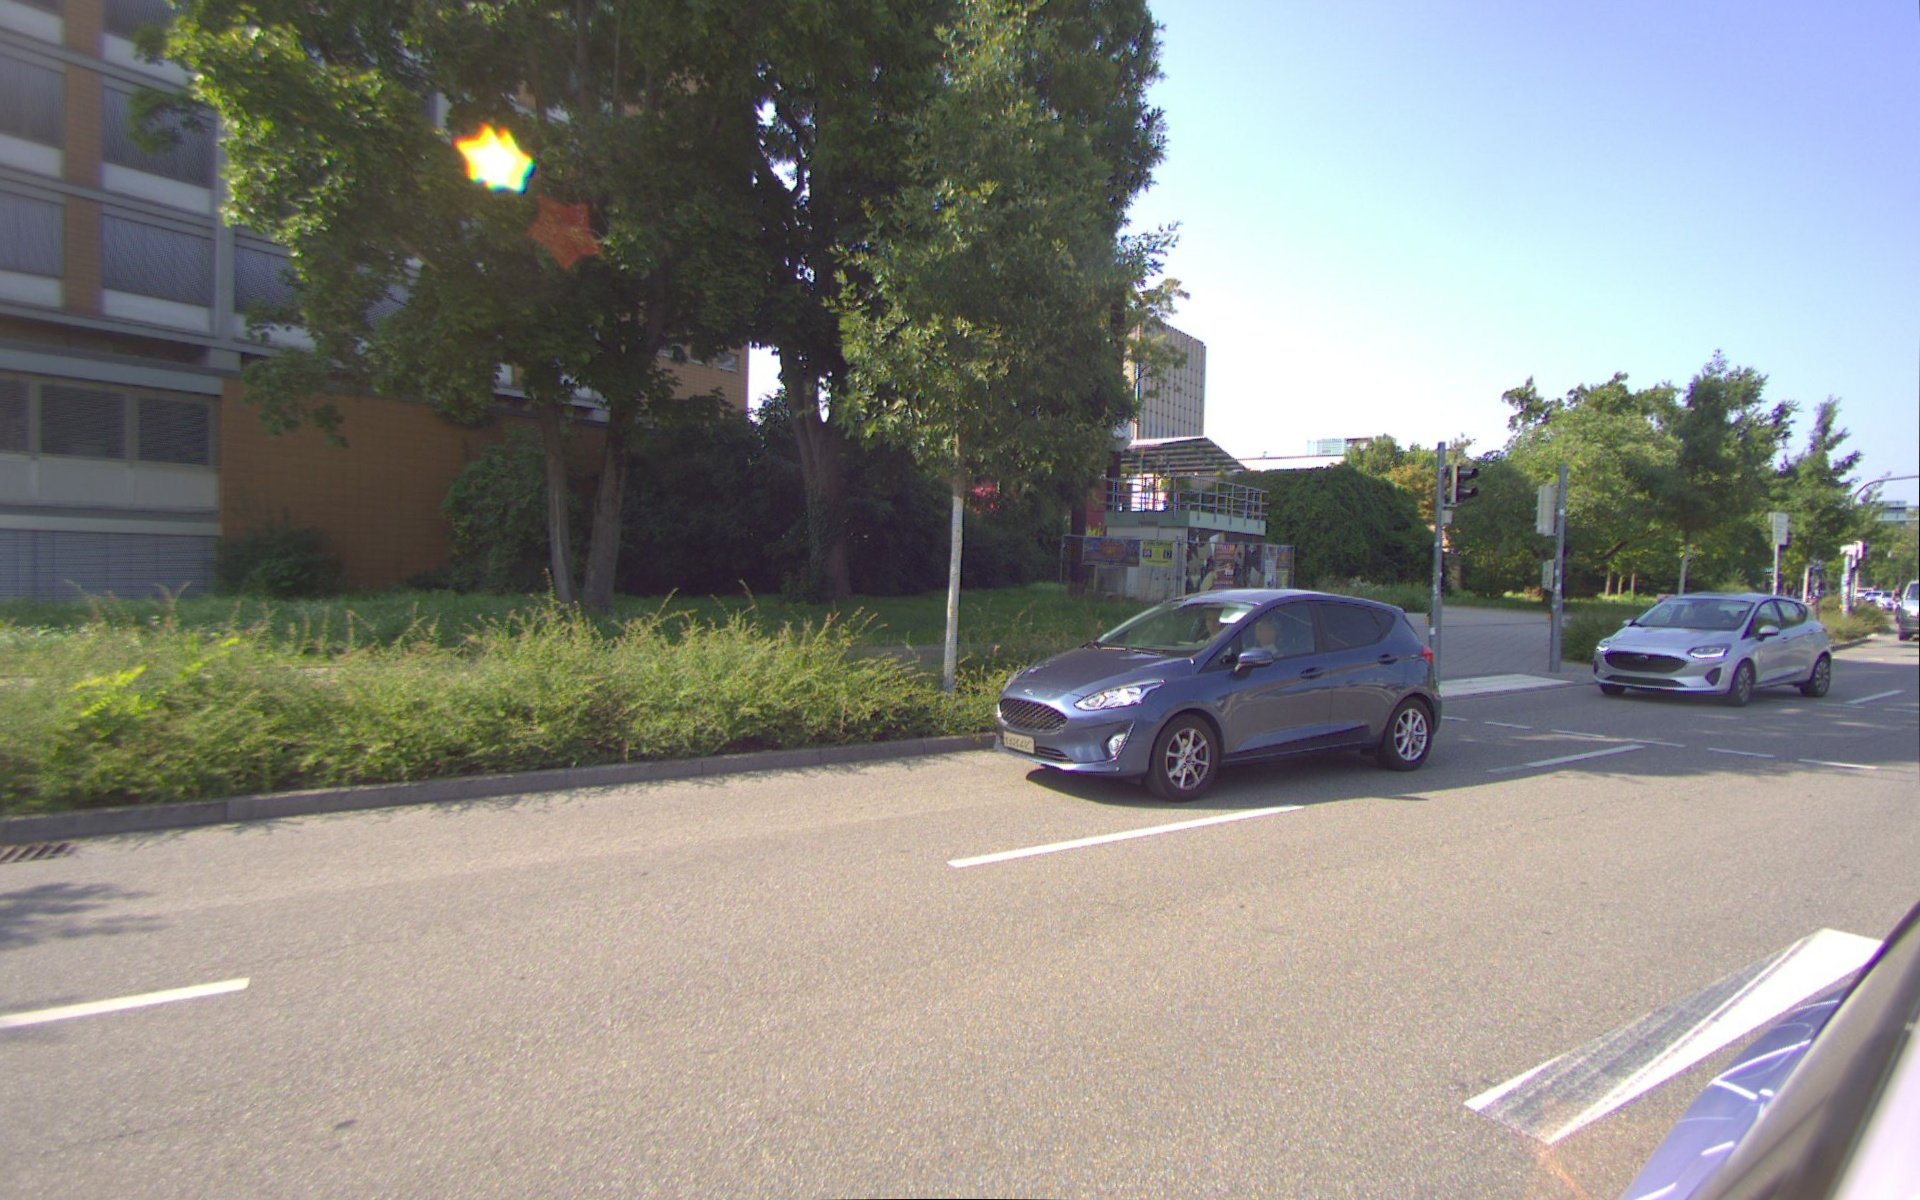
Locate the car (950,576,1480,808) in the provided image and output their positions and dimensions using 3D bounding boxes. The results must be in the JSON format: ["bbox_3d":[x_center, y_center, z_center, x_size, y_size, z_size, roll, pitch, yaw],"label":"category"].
[{"bbox_3d":[2.154,0.562,8.133,4.236,1.445,1.642,0,1,-31],"label":"car"}]

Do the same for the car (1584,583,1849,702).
[{"bbox_3d":[10.664,0.509,14.215,3.784,1.451,1.722,0,1,-32],"label":"car"}]

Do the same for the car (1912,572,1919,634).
[{"bbox_3d":[31.711,0.069,32.285,1.842,1.898,4.894,1,2,45],"label":"car"}]

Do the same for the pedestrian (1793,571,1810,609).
[{"bbox_3d":[43.087,-0.516,51.808,0.621,1.868,0.632,3,2,40],"label":"pedestrian"}]

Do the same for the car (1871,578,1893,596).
[{"bbox_3d":[108.213,-1.570,118.767,1.827,2.038,3.937,3,2,44],"label":"car"}]

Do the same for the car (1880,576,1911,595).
[{"bbox_3d":[88.622,-1.348,95.908,1.824,1.704,3.943,3,2,39],"label":"car"}]
